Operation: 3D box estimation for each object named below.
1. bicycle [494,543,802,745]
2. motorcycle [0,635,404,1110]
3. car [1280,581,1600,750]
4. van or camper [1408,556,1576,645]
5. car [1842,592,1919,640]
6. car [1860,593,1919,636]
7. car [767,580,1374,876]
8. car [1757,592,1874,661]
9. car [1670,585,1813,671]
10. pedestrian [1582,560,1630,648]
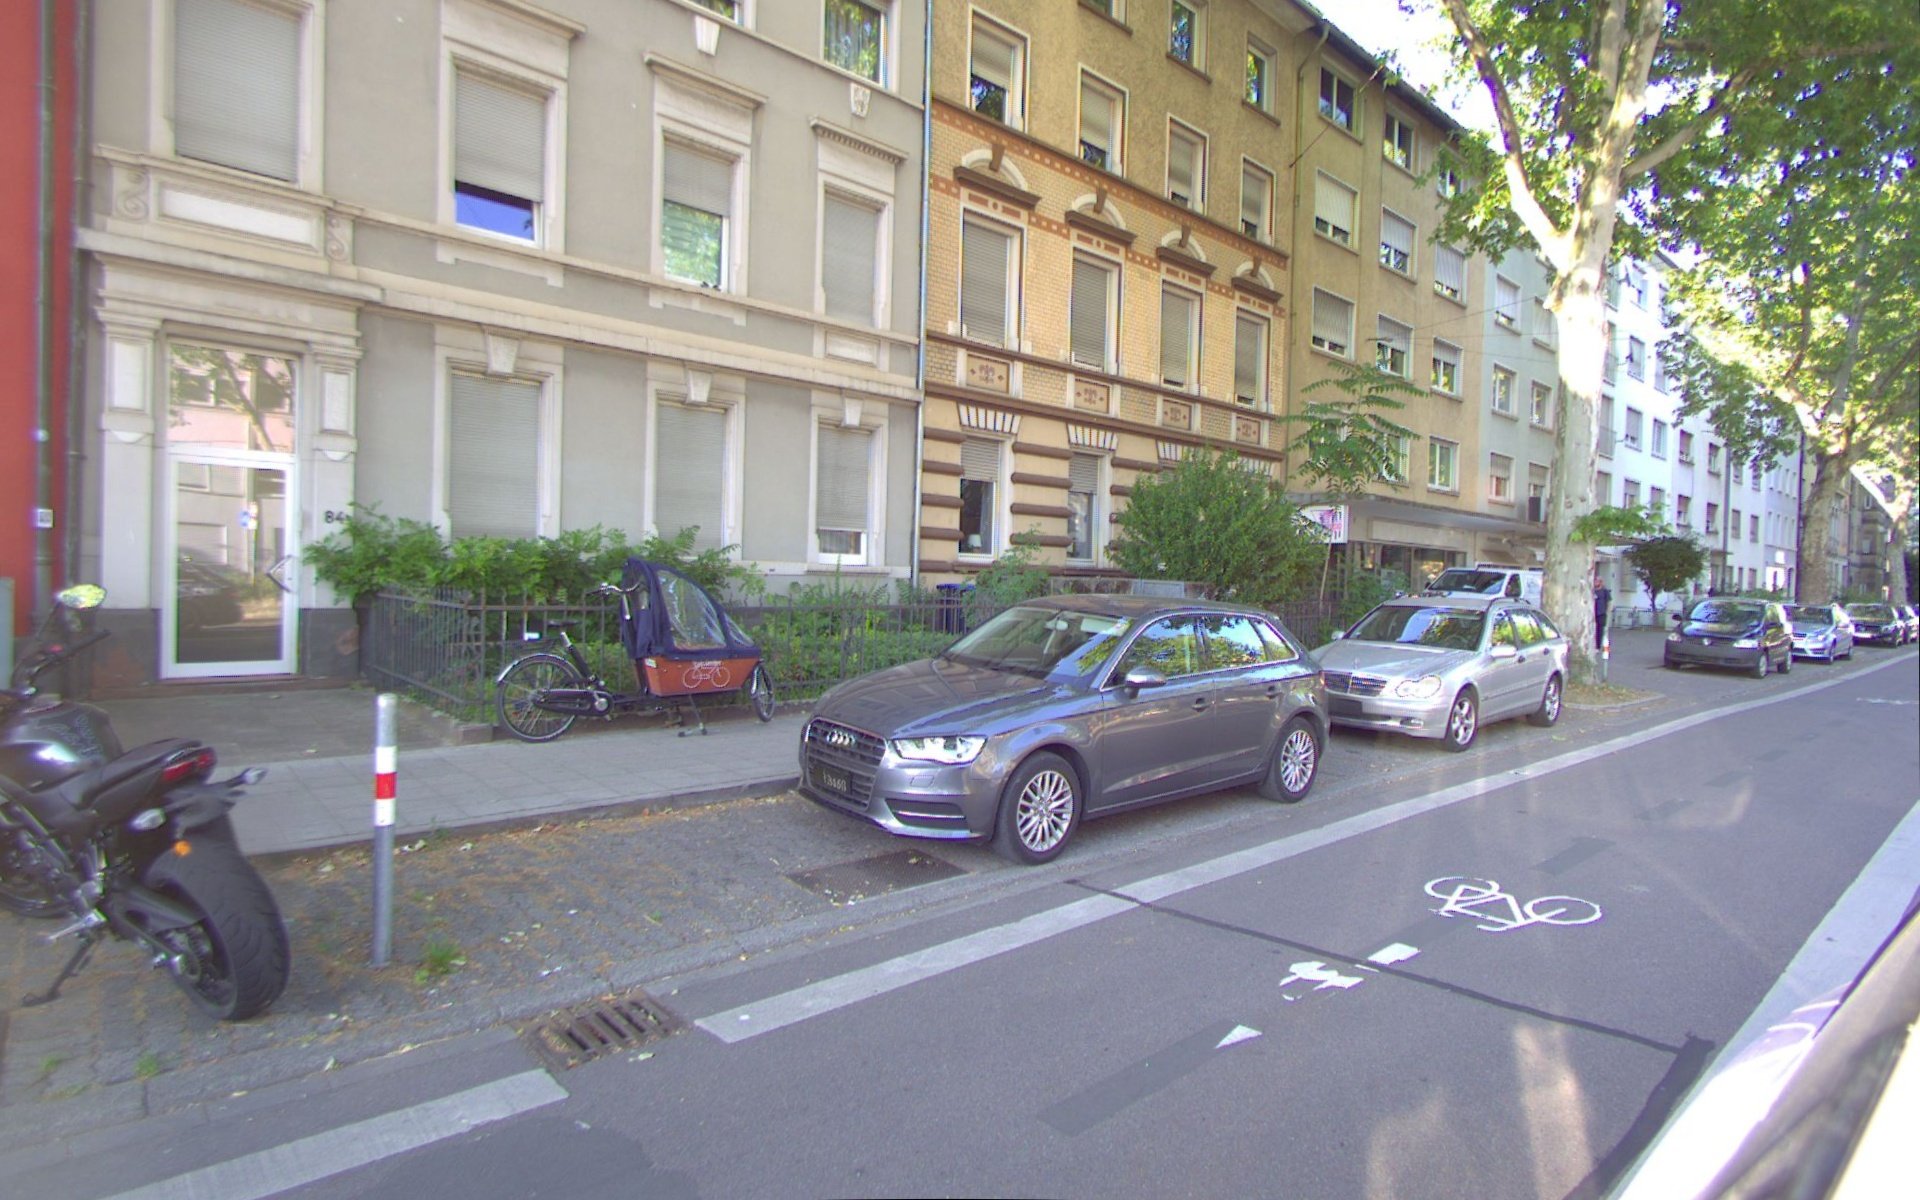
[{"bbox_3d":[-2.459,0.304,8.235,2.354,1.445,0.608,0,0,-41],"label":"bicycle"},{"bbox_3d":[-3.021,0.766,3.574,2.193,1.076,0.760,4,2,28],"label":"motorcycle"},{"bbox_3d":[5.463,0.566,11.209,4.494,1.469,1.676,0,2,-43],"label":"car"},{"bbox_3d":[13.180,-0.028,24.918,5.299,1.946,1.945,0,2,-42],"label":"van or camper"},{"bbox_3d":[31.668,0.492,34.611,4.289,1.432,1.712,0,4,-42],"label":"car"},{"bbox_3d":[35.195,0.501,37.880,4.289,1.432,1.712,0,4,-42],"label":"car"},{"bbox_3d":[0.976,0.611,6.981,4.245,1.414,1.714,0,2,-41],"label":"car"},{"bbox_3d":[22.000,0.618,25.960,4.695,1.561,1.697,0,2,-42],"label":"car"},{"bbox_3d":[16.247,0.520,20.965,3.932,1.564,1.656,0,2,-42],"label":"car"},{"bbox_3d":[15.272,0.079,23.919,0.995,2.038,0.683,0,1,-43],"label":"pedestrian"}]
